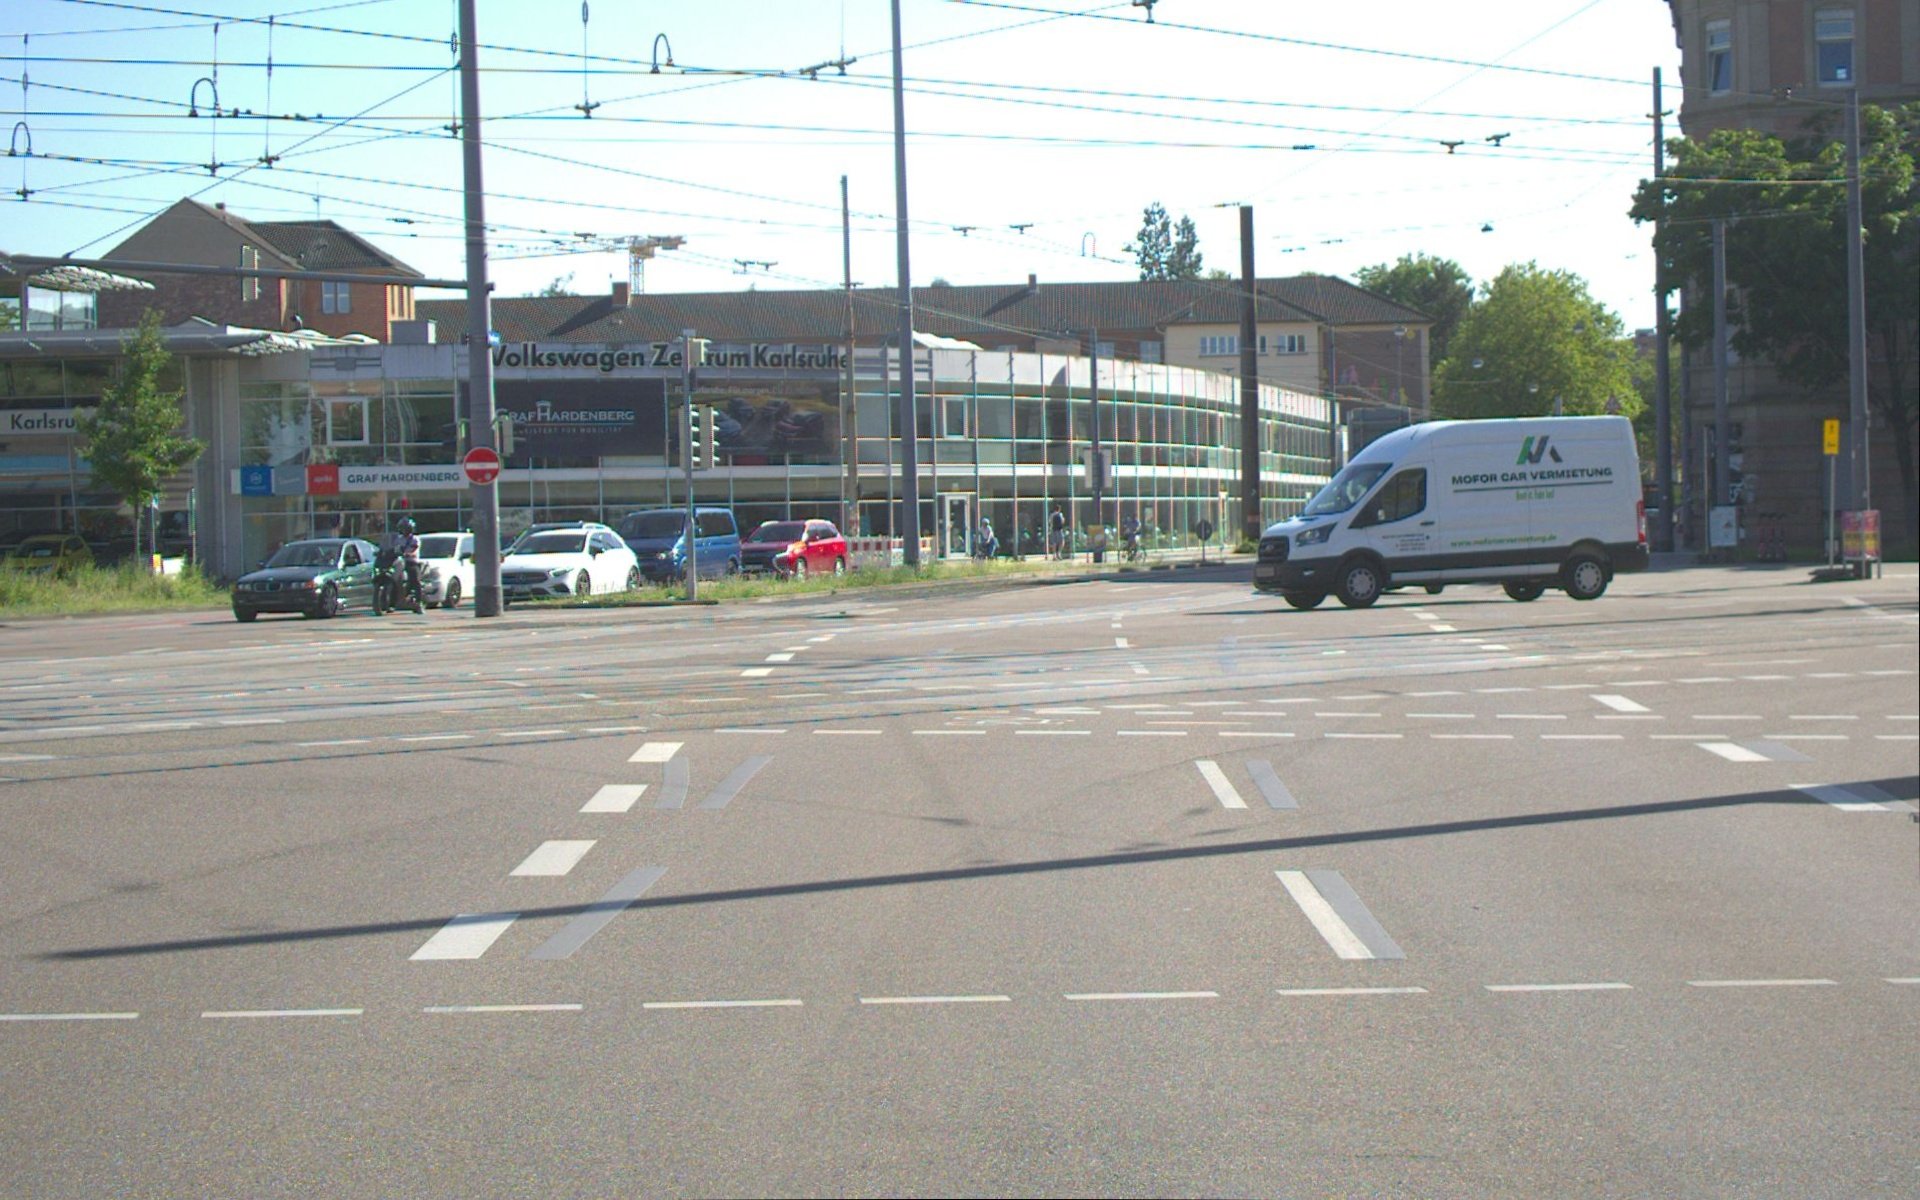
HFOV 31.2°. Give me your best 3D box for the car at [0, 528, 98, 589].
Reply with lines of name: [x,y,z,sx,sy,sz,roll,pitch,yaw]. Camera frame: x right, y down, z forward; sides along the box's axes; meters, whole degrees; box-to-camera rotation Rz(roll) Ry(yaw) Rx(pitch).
car: [-26.532,-1.230,99.882,1.966,1.700,4.084,-1,1,-1]

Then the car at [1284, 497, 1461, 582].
car: [7.583,-1.127,63.591,1.698,1.497,4.266,-1,1,-16]

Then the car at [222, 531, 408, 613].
car: [-11.386,-0.519,60.883,1.705,1.349,3.698,-1,1,17]

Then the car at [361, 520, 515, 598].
car: [-10.118,-0.812,66.835,1.627,1.419,3.683,-1,1,14]

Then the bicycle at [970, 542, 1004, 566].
bicycle: [0.823,-1.405,104.662,0.423,0.715,1.473,-1,1,26]

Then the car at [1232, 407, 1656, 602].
car: [7.196,-1.437,51.108,5.903,2.735,2.145,-2,1,-21]

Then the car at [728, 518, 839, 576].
car: [-4.396,-1.340,86.092,1.627,1.359,3.683,-1,1,16]

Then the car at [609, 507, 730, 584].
car: [-6.644,-1.269,78.965,1.627,1.686,3.683,-1,1,14]

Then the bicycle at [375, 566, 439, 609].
bicycle: [-9.707,-0.221,60.403,0.423,0.715,1.633,-1,1,17]

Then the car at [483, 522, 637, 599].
car: [-7.519,-0.764,64.953,1.627,1.377,3.735,-1,1,14]

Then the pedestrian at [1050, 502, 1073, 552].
pedestrian: [3.479,-2.512,118.009,0.543,1.683,0.629,-1,1,25]

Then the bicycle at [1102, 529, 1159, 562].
bicycle: [5.588,-1.790,112.561,0.811,1.041,2.122,0,2,37]

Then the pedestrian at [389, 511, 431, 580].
pedestrian: [-9.686,-0.965,60.515,0.423,1.200,0.749,-1,1,17]

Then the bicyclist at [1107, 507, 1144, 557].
bicyclist: [5.417,-2.215,112.353,0.811,1.618,0.927,0,1,37]
